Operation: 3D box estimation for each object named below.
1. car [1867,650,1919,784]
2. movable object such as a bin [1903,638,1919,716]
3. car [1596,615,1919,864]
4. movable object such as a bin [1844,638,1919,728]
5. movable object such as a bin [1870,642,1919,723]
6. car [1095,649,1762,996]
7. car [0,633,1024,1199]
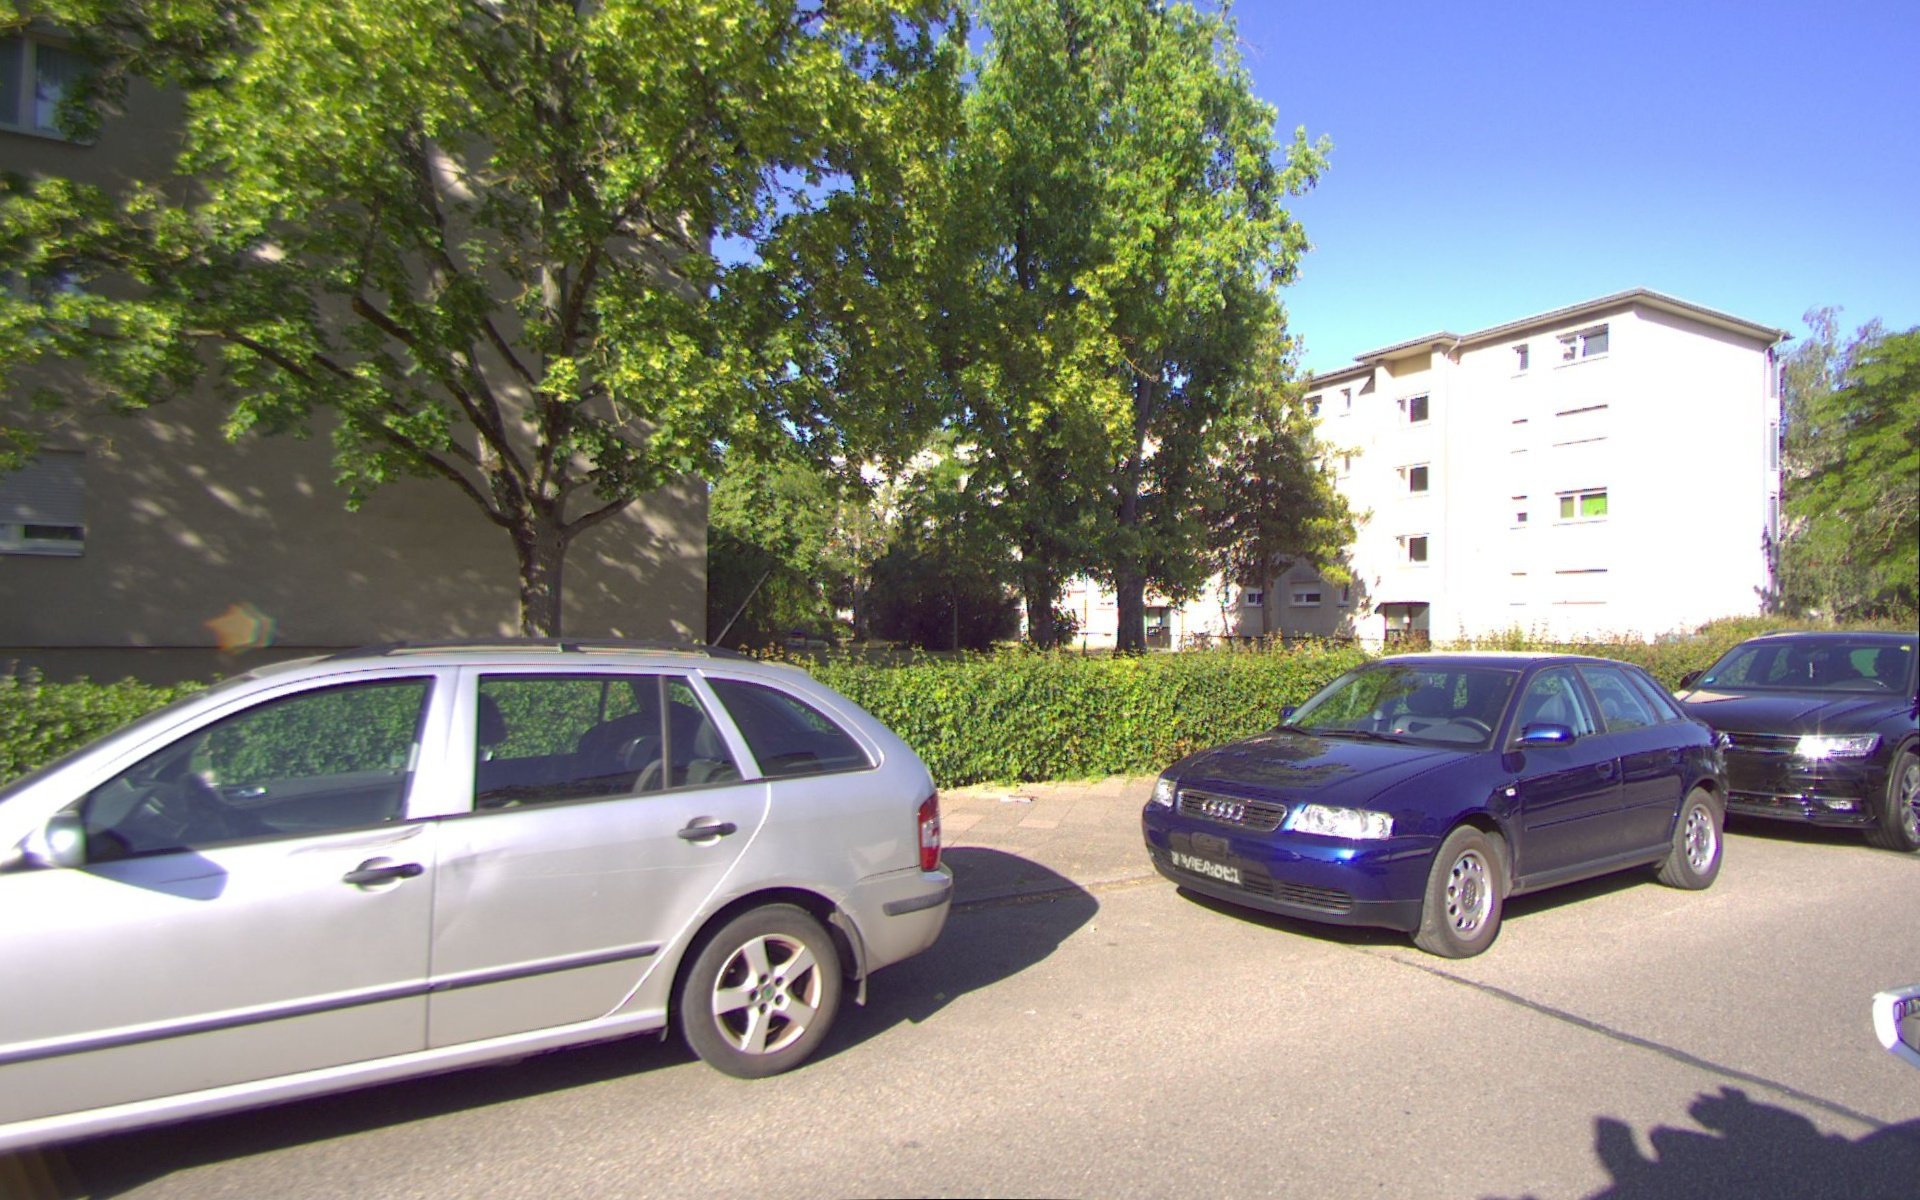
[{"bbox_3d":[12.282,1.296,11.284,4.619,1.403,1.746,2,-3,-30],"label":"car"},{"bbox_3d":[18.501,1.469,18.691,1.311,1.434,0.997,2,2,-30],"label":"movable object such as a bin"},{"bbox_3d":[7.611,1.027,8.677,4.337,1.690,1.746,2,-3,-30],"label":"car"},{"bbox_3d":[16.189,1.407,17.394,1.311,1.434,0.890,2,2,-30],"label":"movable object such as a bin"},{"bbox_3d":[17.345,1.488,18.046,1.242,1.384,1.114,2,2,-30],"label":"movable object such as a bin"},{"bbox_3d":[2.904,1.000,5.947,4.125,1.403,1.629,2,-3,-33],"label":"car"},{"bbox_3d":[-1.954,0.858,3.573,4.101,1.455,1.746,2,-3,-30],"label":"car"}]
